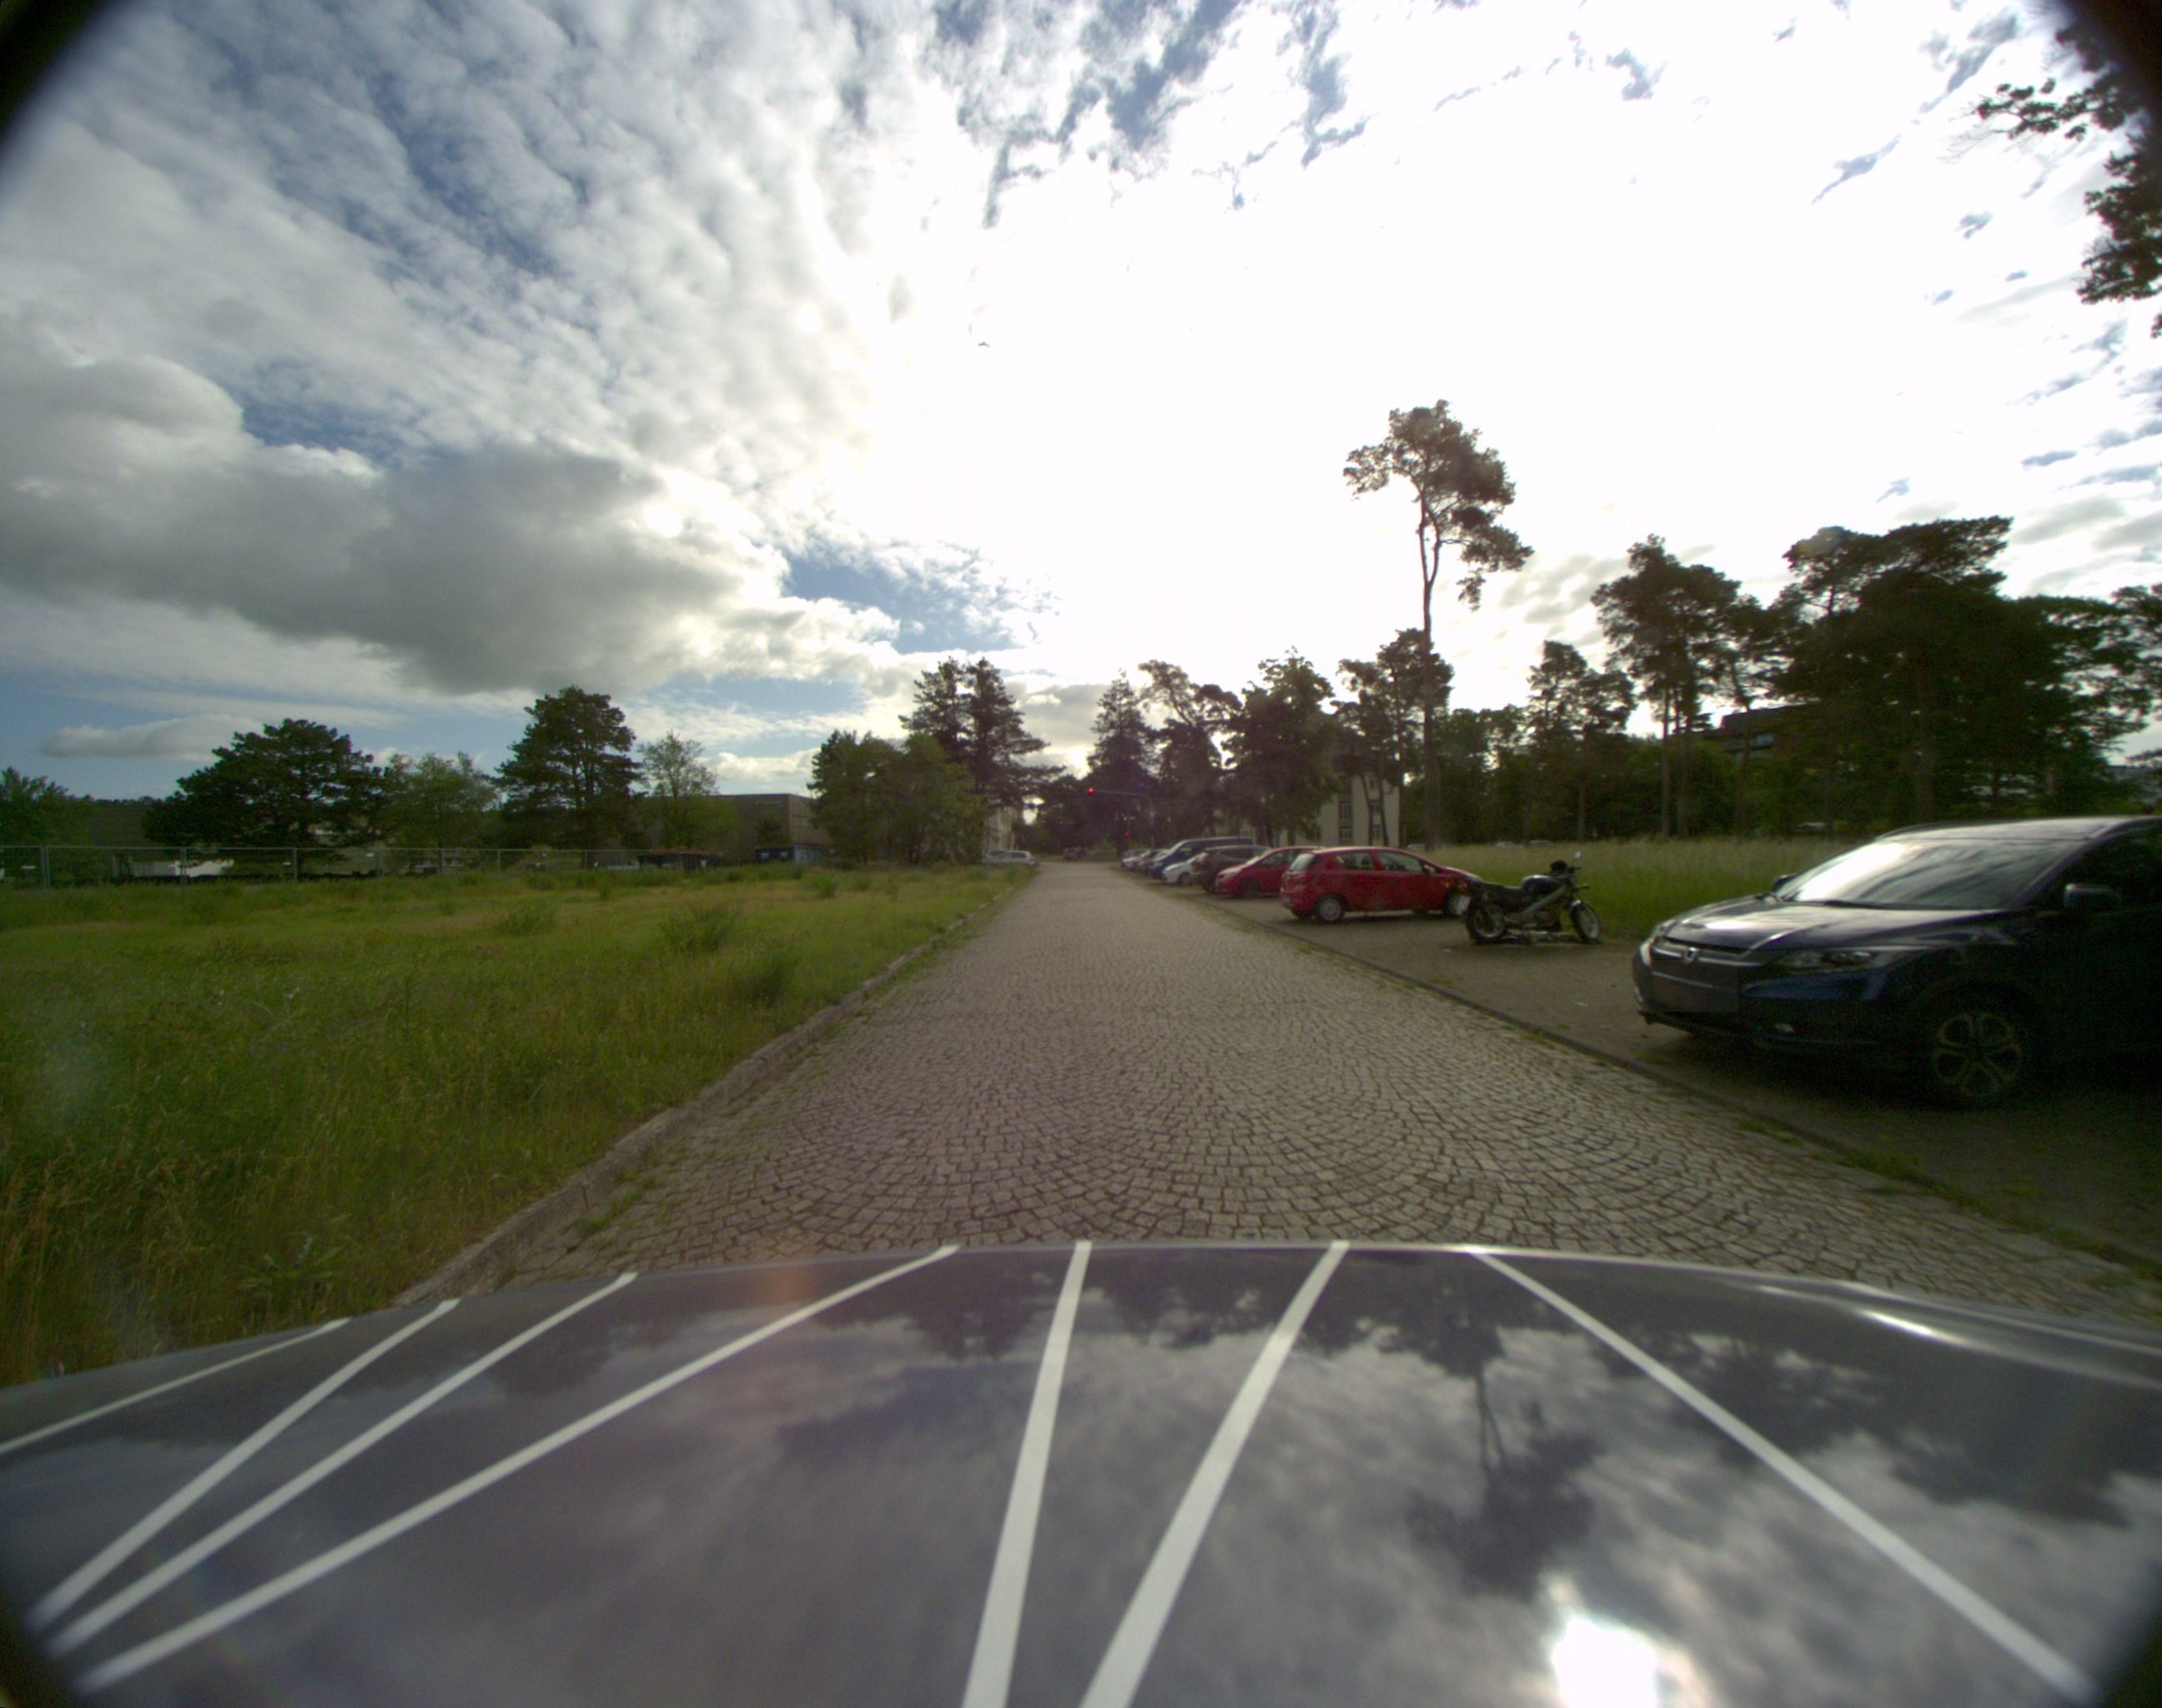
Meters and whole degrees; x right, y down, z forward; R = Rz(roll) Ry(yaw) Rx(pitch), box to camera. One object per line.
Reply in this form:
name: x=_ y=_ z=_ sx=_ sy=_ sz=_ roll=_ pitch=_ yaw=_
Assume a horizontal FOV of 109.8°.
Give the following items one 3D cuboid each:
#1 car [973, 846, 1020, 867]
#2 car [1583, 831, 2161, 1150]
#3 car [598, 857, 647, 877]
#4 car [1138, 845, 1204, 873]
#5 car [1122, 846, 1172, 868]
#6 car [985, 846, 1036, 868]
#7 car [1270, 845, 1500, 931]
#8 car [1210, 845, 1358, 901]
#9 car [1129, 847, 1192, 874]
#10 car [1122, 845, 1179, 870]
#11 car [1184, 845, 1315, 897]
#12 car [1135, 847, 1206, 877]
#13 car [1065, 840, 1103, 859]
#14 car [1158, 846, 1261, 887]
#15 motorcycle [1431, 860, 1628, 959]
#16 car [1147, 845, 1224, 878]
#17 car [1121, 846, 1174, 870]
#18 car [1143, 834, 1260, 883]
car: x=-6.950 y=0.190 z=62.367 sx=3.731 sy=1.430 sz=1.625 roll=-4 pitch=2 yaw=-9
car: x=5.927 y=0.695 z=4.967 sx=4.149 sy=1.564 sz=1.789 roll=-2 pitch=2 yaw=-2
car: x=-44.254 y=1.232 z=73.373 sx=3.778 sy=1.892 sz=1.995 roll=0 pitch=-1 yaw=-42
car: x=5.409 y=0.290 z=45.760 sx=3.573 sy=1.426 sz=1.605 roll=-4 pitch=2 yaw=-8
car: x=5.073 y=0.186 z=58.411 sx=3.455 sy=1.424 sz=1.626 roll=-4 pitch=2 yaw=-11
car: x=-5.277 y=0.221 z=57.084 sx=3.730 sy=1.430 sz=1.625 roll=-3 pitch=2 yaw=-5
car: x=5.975 y=0.636 z=15.224 sx=3.894 sy=1.470 sz=1.671 roll=-2 pitch=1 yaw=-2
car: x=6.019 y=0.550 z=22.856 sx=3.951 sy=1.511 sz=1.707 roll=-2 pitch=0 yaw=-1
car: x=5.048 y=0.373 z=48.478 sx=3.573 sy=1.408 sz=1.637 roll=-4 pitch=2 yaw=-8
car: x=4.831 y=0.236 z=52.911 sx=3.573 sy=1.479 sz=1.601 roll=-4 pitch=2 yaw=-9
car: x=5.613 y=0.541 z=25.586 sx=3.917 sy=1.594 sz=1.820 roll=-1 pitch=1 yaw=-4
car: x=4.989 y=0.444 z=42.699 sx=3.600 sy=1.413 sz=1.617 roll=-3 pitch=2 yaw=-8
car: x=0.418 y=-0.751 z=125.159 sx=5.798 sy=2.548 sz=2.767 roll=-4 pitch=2 yaw=-6
car: x=5.356 y=0.497 z=31.953 sx=3.930 sy=1.385 sz=1.742 roll=-4 pitch=2 yaw=-3
motorcycle: x=6.353 y=0.764 z=10.836 sx=2.362 sy=1.280 sz=0.743 roll=-2 pitch=1 yaw=-1
car: x=5.483 y=0.371 z=40.155 sx=3.600 sy=1.446 sz=1.686 roll=-4 pitch=2 yaw=-8
car: x=4.825 y=0.256 z=55.666 sx=3.572 sy=1.450 sz=1.625 roll=-4 pitch=2 yaw=-4
car: x=5.417 y=0.171 z=34.539 sx=4.834 sy=1.855 sz=2.160 roll=-4 pitch=2 yaw=-3
